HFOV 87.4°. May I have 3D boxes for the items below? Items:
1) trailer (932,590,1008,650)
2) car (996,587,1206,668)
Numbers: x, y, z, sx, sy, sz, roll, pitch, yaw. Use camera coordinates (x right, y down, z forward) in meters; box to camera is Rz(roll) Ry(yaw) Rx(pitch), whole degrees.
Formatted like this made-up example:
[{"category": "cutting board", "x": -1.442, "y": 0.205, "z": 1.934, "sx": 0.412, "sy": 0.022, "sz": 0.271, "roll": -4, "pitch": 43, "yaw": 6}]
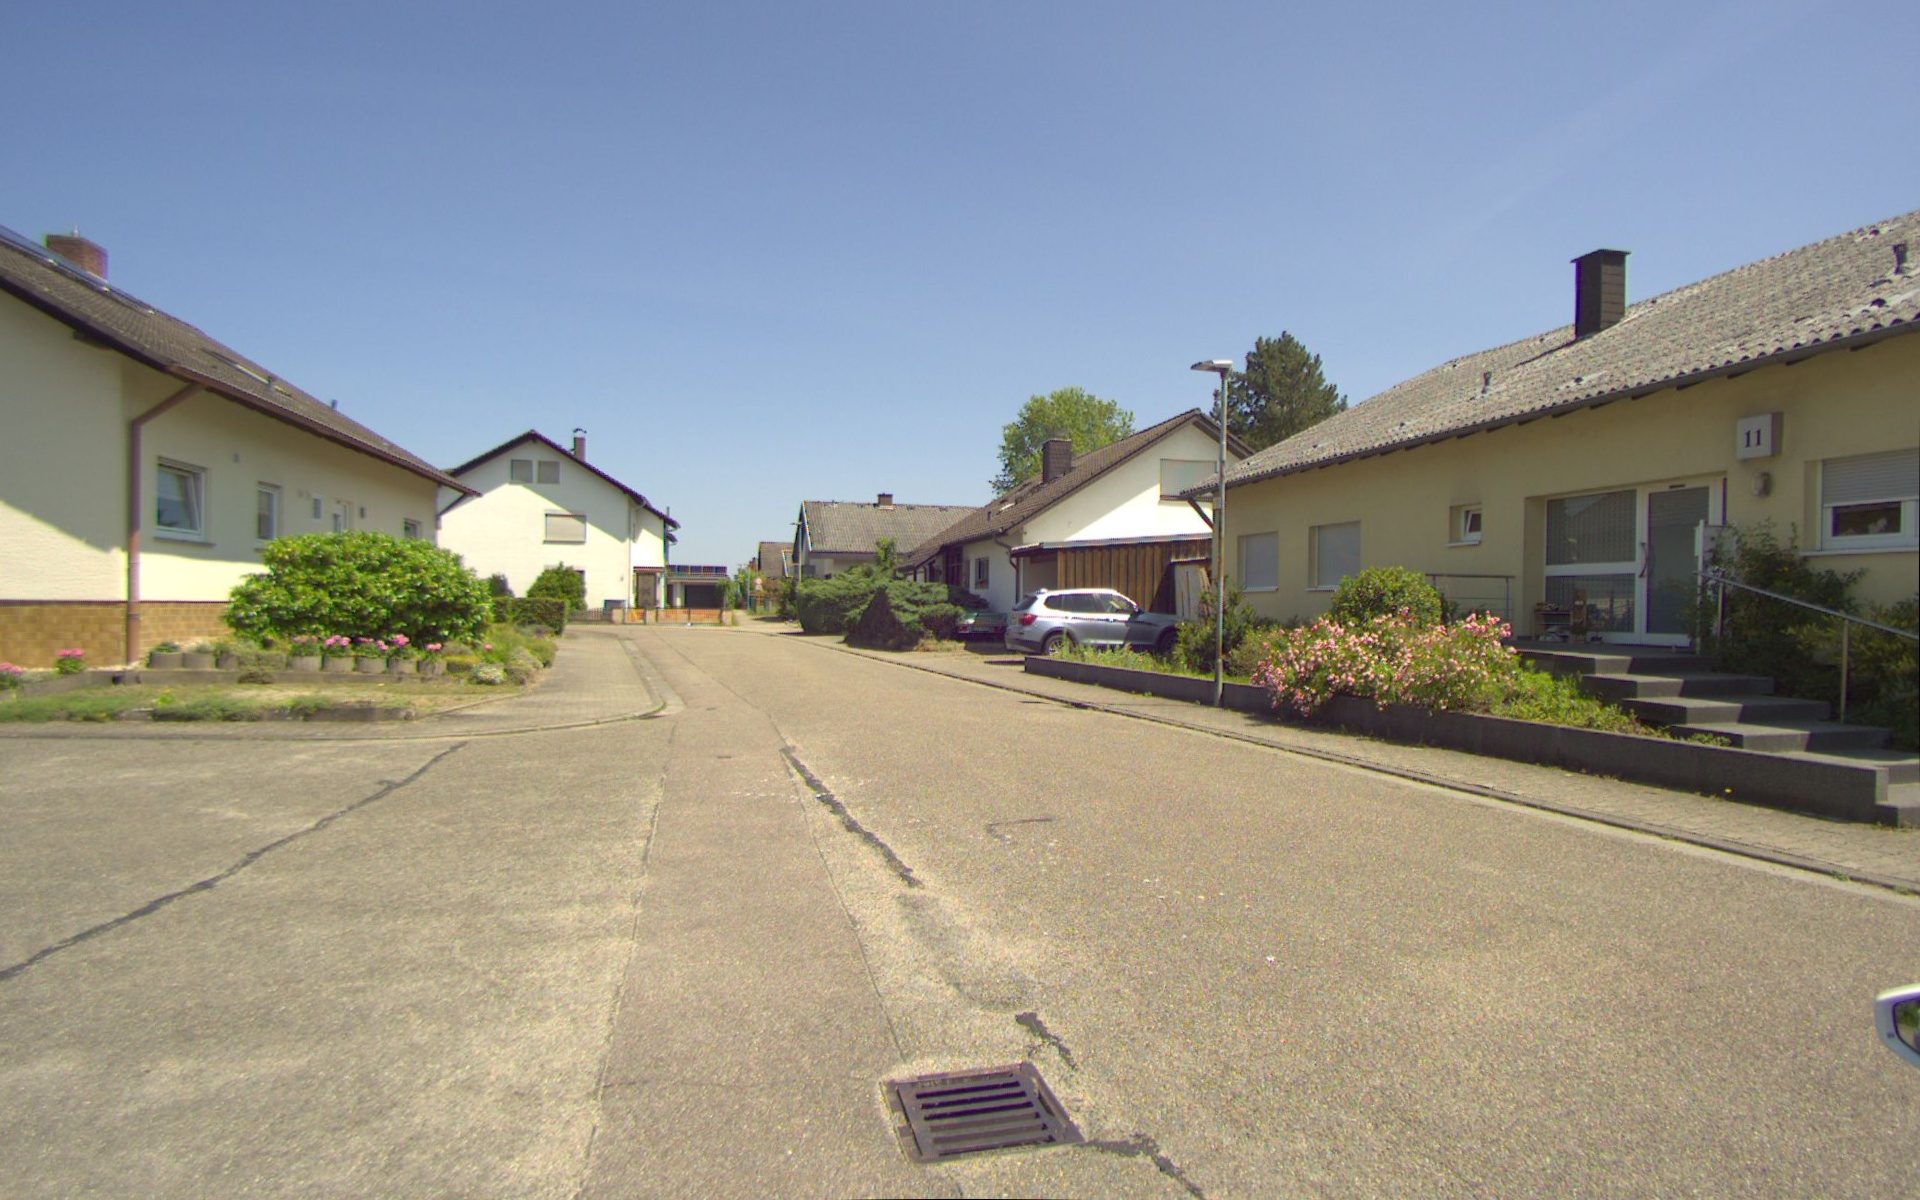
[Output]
[{"category": "trailer", "x": 0.240, "y": 0.548, "z": 30.530, "sx": 1.565, "sy": 1.695, "sz": 3.287, "roll": -1, "pitch": 1, "yaw": -13}, {"category": "car", "x": 3.249, "y": 0.597, "z": 23.457, "sx": 4.560, "sy": 1.725, "sz": 1.706, "roll": -1, "pitch": 0, "yaw": -11}]
